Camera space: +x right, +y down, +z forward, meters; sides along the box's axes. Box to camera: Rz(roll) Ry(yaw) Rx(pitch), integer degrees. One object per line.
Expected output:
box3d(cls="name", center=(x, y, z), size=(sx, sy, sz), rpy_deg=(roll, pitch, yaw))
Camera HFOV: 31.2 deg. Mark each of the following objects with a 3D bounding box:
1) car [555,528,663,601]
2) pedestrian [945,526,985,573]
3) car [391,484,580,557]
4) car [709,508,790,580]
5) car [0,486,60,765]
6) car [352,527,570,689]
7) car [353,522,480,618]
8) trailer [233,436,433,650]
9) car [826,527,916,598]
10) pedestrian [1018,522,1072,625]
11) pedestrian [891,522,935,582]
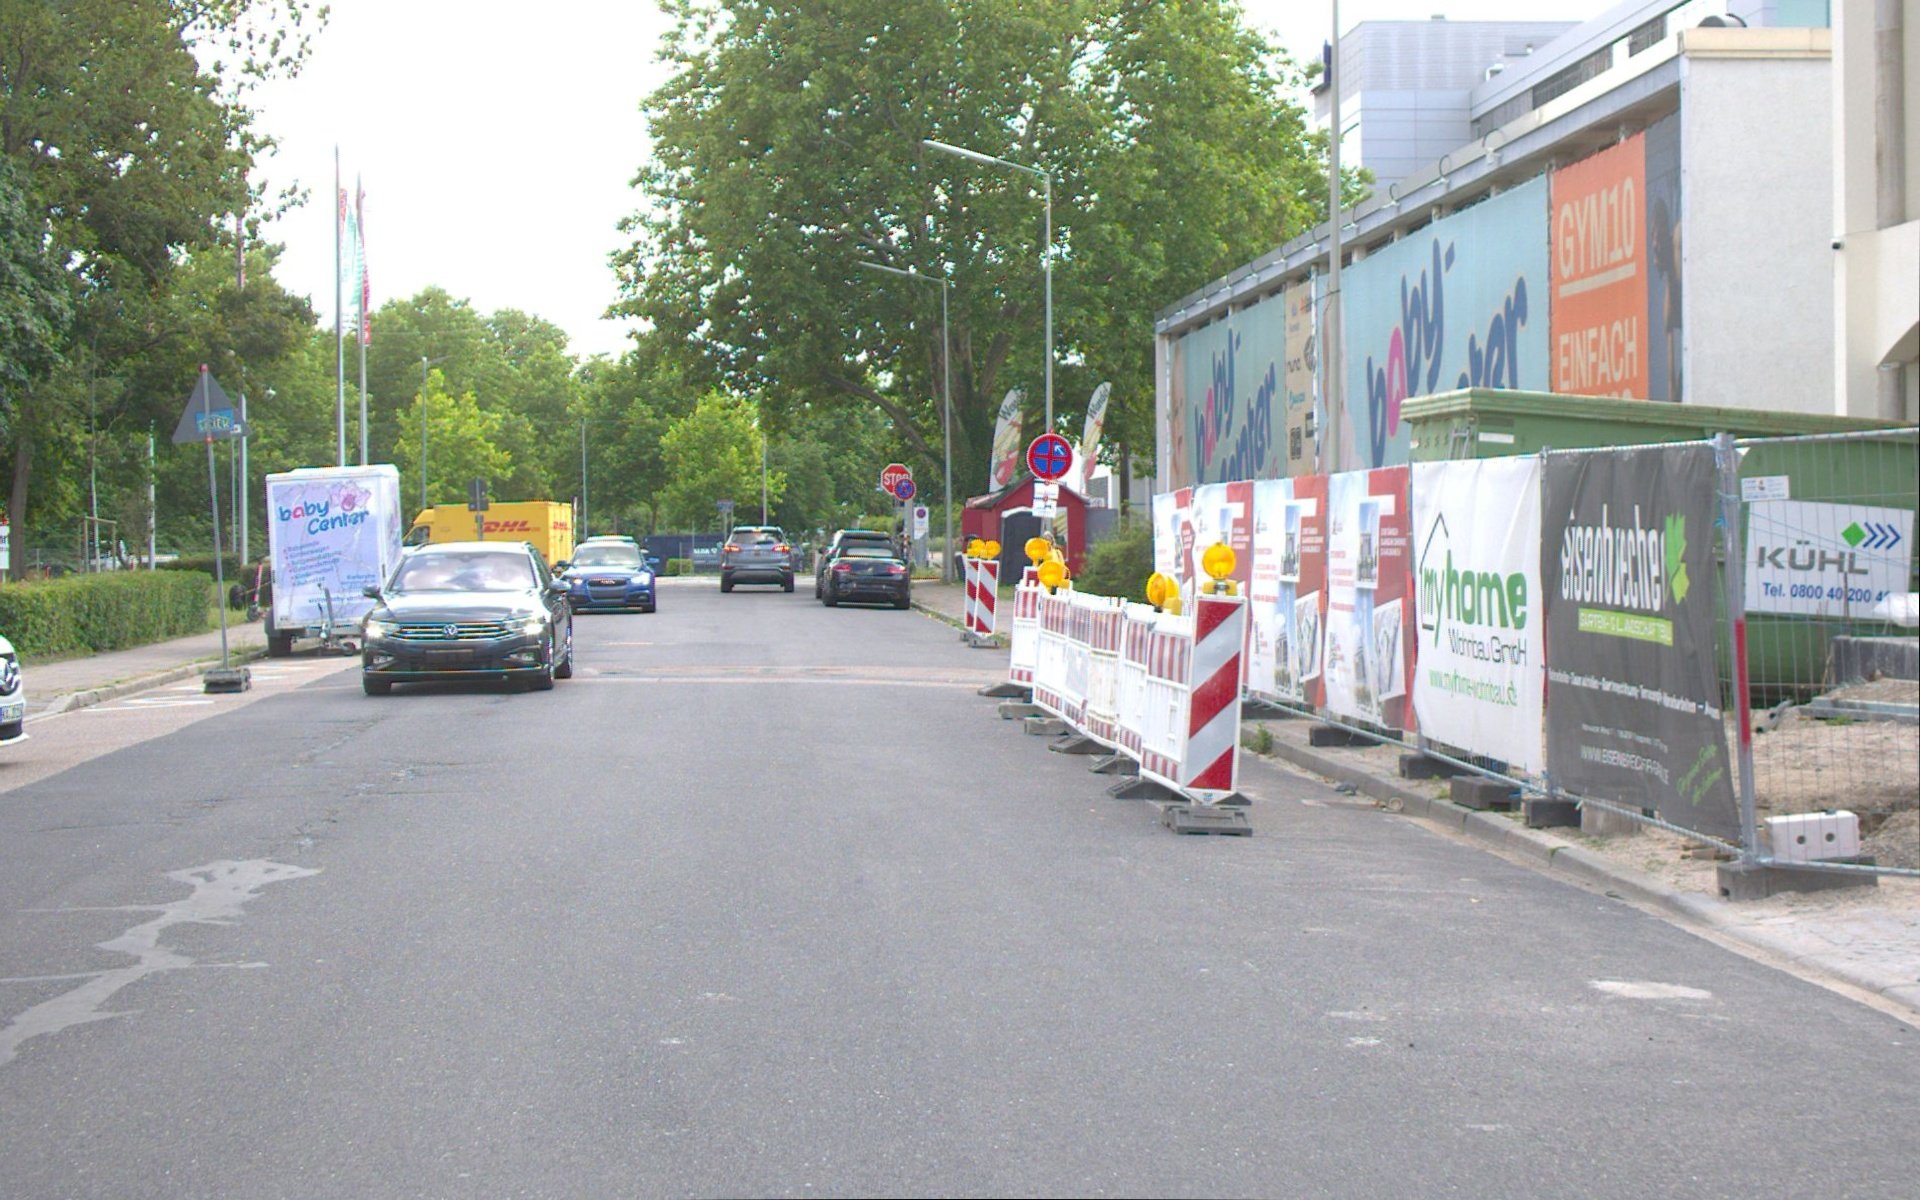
box3d(cls="car", center=(-6.924, -0.728, 68.211), size=(1.923, 1.372, 4.380), rpy_deg=(0, 2, -3))
box3d(cls="pedestrian", center=(0.139, -1.407, 95.444), size=(1.014, 1.309, 0.964), rpy_deg=(0, 1, 5))
box3d(cls="car", center=(-16.993, -2.848, 123.085), size=(6.389, 2.569, 2.204), rpy_deg=(0, 2, 18))
box3d(cls="car", center=(-5.501, -1.476, 89.421), size=(1.961, 1.809, 4.276), rpy_deg=(0, 1, -5))
box3d(cls="car", center=(-9.155, 0.165, 24.360), size=(5.001, 1.942, 1.992), rpy_deg=(0, 1, 2))
box3d(cls="car", center=(-4.958, 0.031, 34.657), size=(1.796, 1.454, 4.386), rpy_deg=(-1, 2, -4))
box3d(cls="car", center=(-9.229, -0.538, 58.637), size=(1.765, 1.474, 4.236), rpy_deg=(-3, 2, -5))
box3d(cls="trailer", center=(-8.701, -0.821, 48.113), size=(2.139, 2.773, 4.704), rpy_deg=(-2, 2, -4))
box3d(cls="car", center=(-1.949, -0.838, 74.141), size=(1.808, 1.386, 4.589), rpy_deg=(2, 1, -2))
box3d(cls="pedestrian", center=(1.269, -0.401, 51.552), size=(0.681, 1.528, 1.130), rpy_deg=(0, 1, -5))
box3d(cls="pedestrian", center=(-1.469, -1.502, 106.974), size=(1.000, 1.843, 1.230), rpy_deg=(0, 1, -21))
